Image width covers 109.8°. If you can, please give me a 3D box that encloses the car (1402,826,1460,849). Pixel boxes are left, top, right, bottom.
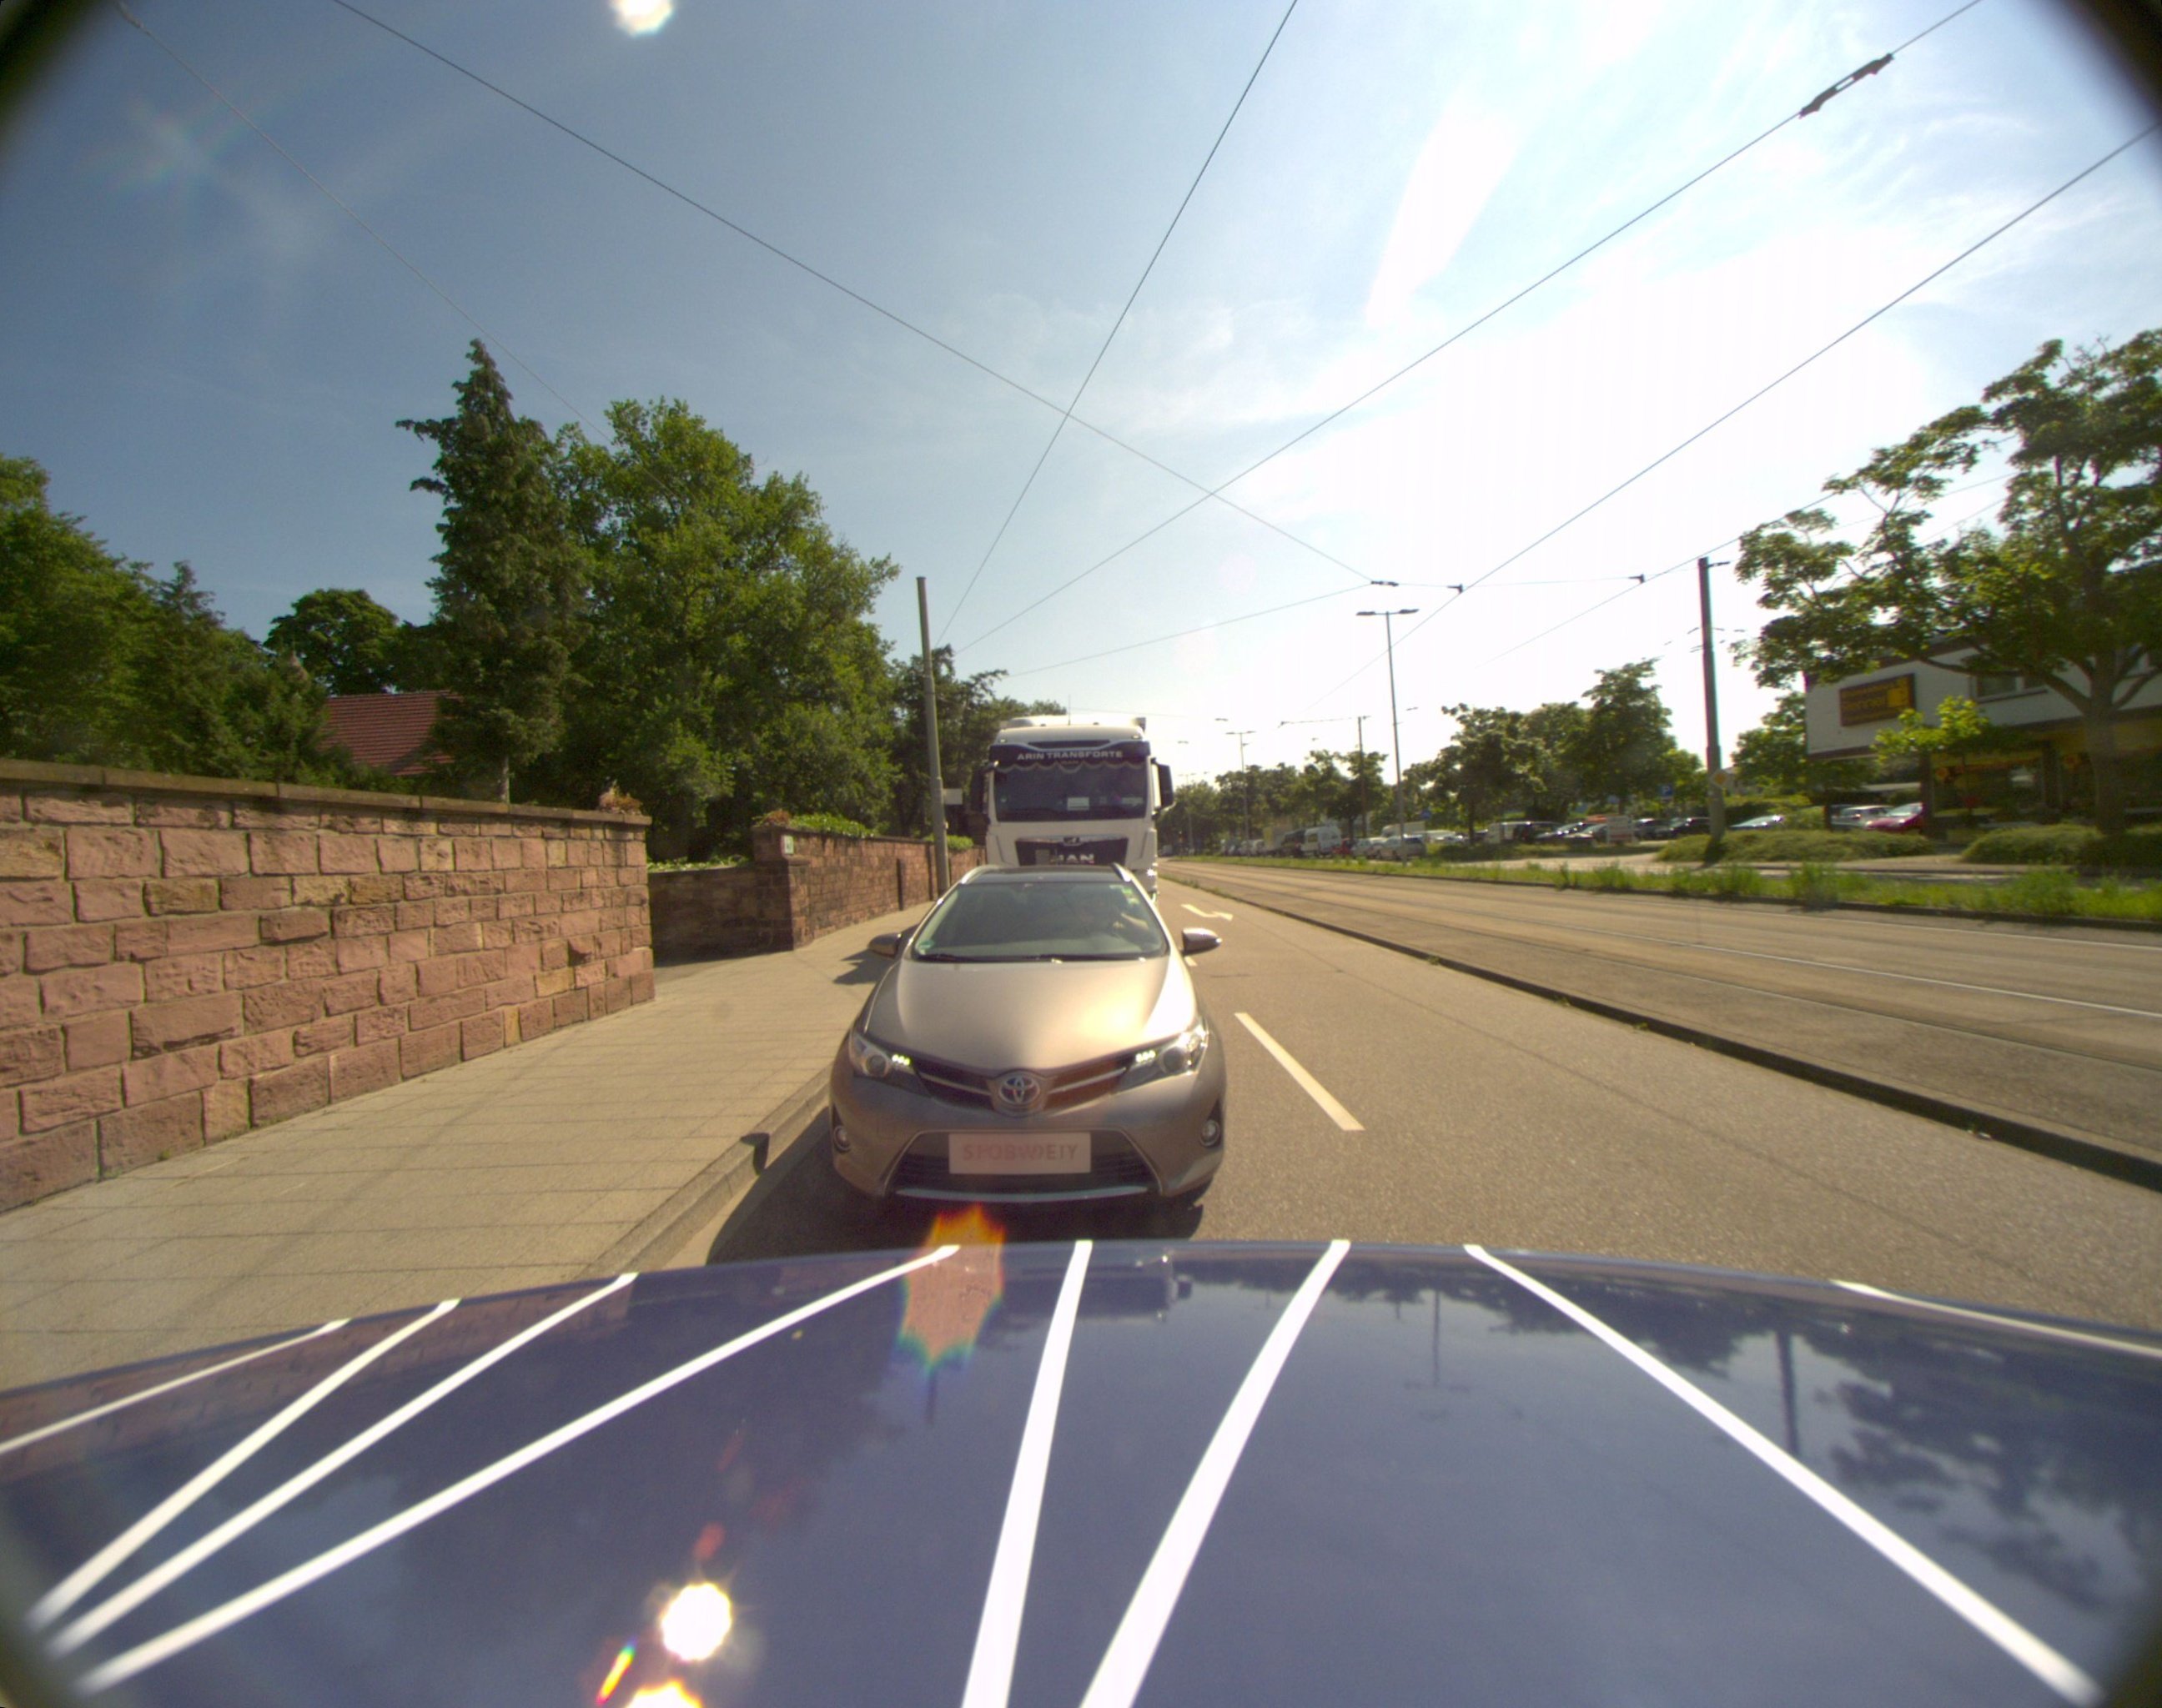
[{"bbox_3d":[31.167,-1.400,67.884,2.594,1.800,5.741,-3,0,2],"label":"car"}]

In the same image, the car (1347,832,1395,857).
[{"bbox_3d":[20.444,-0.626,53.662,1.675,1.524,4.256,-6,0,1],"label":"car"}]

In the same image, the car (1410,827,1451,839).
[{"bbox_3d":[43.734,-2.622,95.114,4.253,1.327,1.676,-3,0,1],"label":"car"}]

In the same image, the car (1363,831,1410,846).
[{"bbox_3d":[32.314,-1.592,80.401,4.253,1.327,1.676,-3,0,1],"label":"car"}]

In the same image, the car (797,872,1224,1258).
[{"bbox_3d":[-0.261,0.892,5.027,1.654,1.374,4.000,-2,0,1],"label":"car"}]

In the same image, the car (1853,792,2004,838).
[{"bbox_3d":[35.260,-1.583,31.686,4.252,1.595,1.676,-3,1,2],"label":"car"}]

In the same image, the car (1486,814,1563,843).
[{"bbox_3d":[30.692,-1.771,52.672,4.117,1.728,1.990,-3,1,-2],"label":"car"}]

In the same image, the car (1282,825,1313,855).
[{"bbox_3d":[19.973,-1.257,70.336,1.502,2.609,4.007,-6,0,1],"label":"car"}]

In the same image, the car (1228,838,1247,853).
[{"bbox_3d":[20.620,-1.086,100.076,1.502,1.775,3.687,-6,0,0],"label":"car"}]

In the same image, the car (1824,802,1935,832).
[{"bbox_3d":[44.287,-2.048,42.190,4.252,1.327,1.676,-3,0,2],"label":"car"}]

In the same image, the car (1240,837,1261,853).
[{"bbox_3d":[20.969,-1.102,94.224,1.502,1.835,4.059,-6,0,0],"label":"car"}]

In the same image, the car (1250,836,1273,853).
[{"bbox_3d":[20.703,-1.054,87.323,1.502,1.793,4.633,-6,0,1],"label":"car"}]

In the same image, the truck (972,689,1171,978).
[{"bbox_3d":[-0.036,-0.326,15.112,2.628,3.906,9.285,-2,1,1],"label":"truck"}]

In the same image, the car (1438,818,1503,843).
[{"bbox_3d":[31.229,-1.860,60.981,4.117,1.728,1.990,-3,1,-2],"label":"car"}]

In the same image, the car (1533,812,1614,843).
[{"bbox_3d":[30.510,-1.633,47.119,3.810,1.625,1.676,-3,1,2],"label":"car"}]

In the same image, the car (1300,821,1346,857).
[{"bbox_3d":[20.281,-1.224,63.994,2.062,2.638,5.203,-6,0,1],"label":"car"}]

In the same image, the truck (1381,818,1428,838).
[{"bbox_3d":[44.772,-3.553,105.271,5.652,2.367,1.990,-3,1,-2],"label":"truck"}]

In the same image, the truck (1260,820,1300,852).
[{"bbox_3d":[20.536,-1.843,78.851,2.508,2.917,5.903,-6,0,2],"label":"truck"}]

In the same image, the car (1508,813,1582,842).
[{"bbox_3d":[30.575,-1.716,50.128,3.810,1.625,1.676,-3,1,2],"label":"car"}]

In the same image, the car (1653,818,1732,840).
[{"bbox_3d":[44.059,-1.802,54.819,4.252,1.327,1.676,-3,0,2],"label":"car"}]

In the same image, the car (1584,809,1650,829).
[{"bbox_3d":[44.052,-2.851,62.520,4.254,1.327,1.676,-3,0,-1],"label":"car"}]

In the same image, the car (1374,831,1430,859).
[{"bbox_3d":[20.287,-0.535,48.174,1.675,1.524,4.256,-6,0,1],"label":"car"}]

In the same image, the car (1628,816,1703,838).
[{"bbox_3d":[44.074,-2.021,57.388,4.252,1.327,1.676,-3,0,2],"label":"car"}]

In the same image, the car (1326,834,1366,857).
[{"bbox_3d":[20.476,-0.649,58.759,1.675,1.524,3.793,-6,0,1],"label":"car"}]

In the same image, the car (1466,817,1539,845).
[{"bbox_3d":[30.532,-1.684,55.143,4.117,1.728,1.990,-3,1,-2],"label":"car"}]
